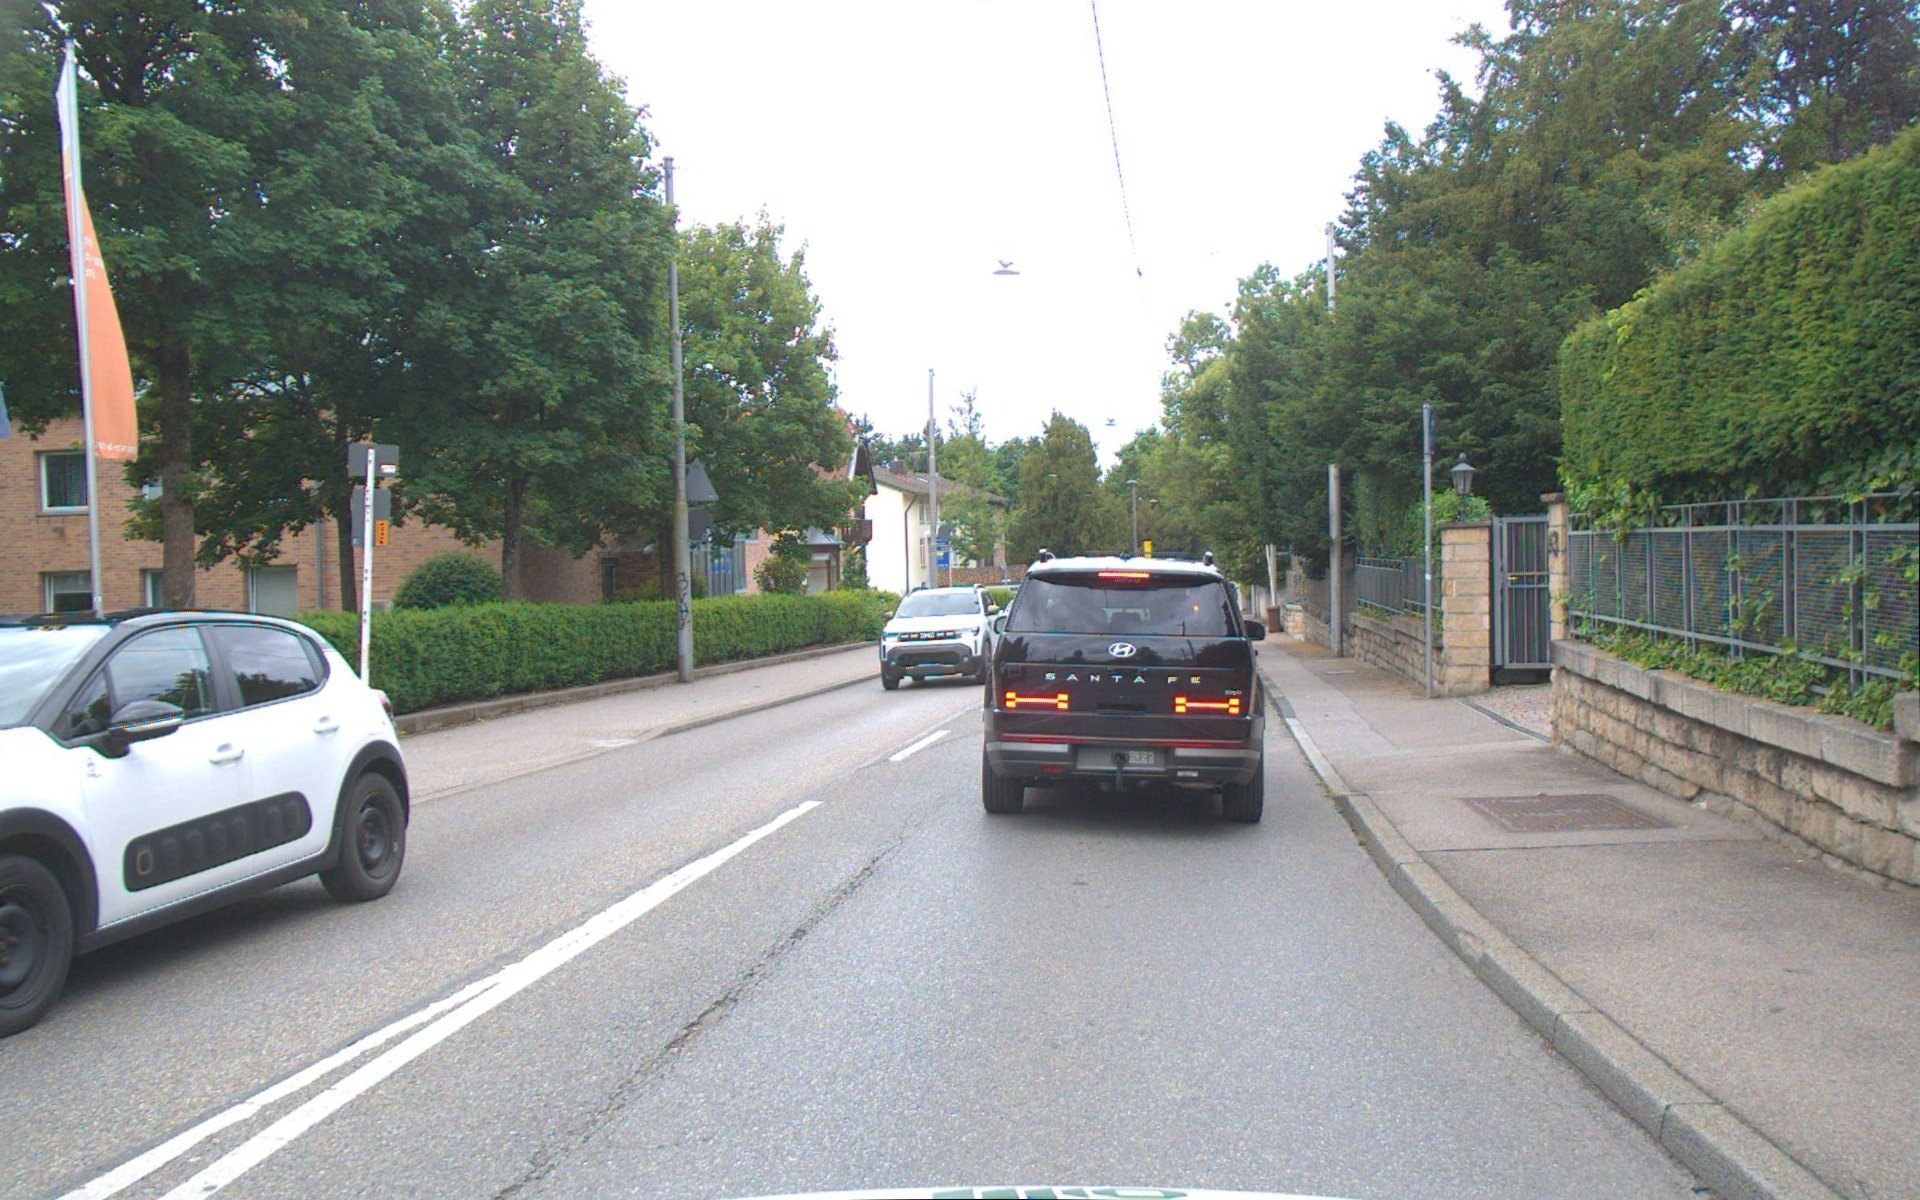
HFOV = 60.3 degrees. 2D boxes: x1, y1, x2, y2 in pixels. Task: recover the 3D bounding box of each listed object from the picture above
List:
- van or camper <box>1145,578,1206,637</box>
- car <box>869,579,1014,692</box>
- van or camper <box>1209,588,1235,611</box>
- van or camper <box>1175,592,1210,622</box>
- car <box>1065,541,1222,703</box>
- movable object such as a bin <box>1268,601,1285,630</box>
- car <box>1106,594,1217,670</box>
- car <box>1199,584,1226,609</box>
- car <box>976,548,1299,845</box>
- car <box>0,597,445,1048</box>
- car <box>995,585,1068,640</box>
[{"bbox_3d":[7.643,0.233,58.282,1.951,1.920,4.004,-3,0,9],"label":"van or camper"},{"bbox_3d":[-0.224,0.553,28.279,1.731,1.666,4.305,-4,0,8],"label":"car"},{"bbox_3d":[20.676,-0.026,130.466,1.951,1.680,4.004,-3,0,9],"label":"van or camper"},{"bbox_3d":[13.823,0.386,98.261,1.951,1.680,4.004,-3,0,9],"label":"van or camper"},{"bbox_3d":[2.563,0.317,23.467,1.916,1.990,4.225,3,-1,5],"label":"car"},{"bbox_3d":[10.962,0.534,57.296,0.436,0.925,0.394,-5,1,18],"label":"movable object such as a bin"},{"bbox_3d":[4.211,0.620,34.121,1.951,1.429,4.003,-2,0,11],"label":"car"},{"bbox_3d":[17.582,-0.210,115.121,1.609,1.588,3.652,-1,-2,11],"label":"car"},{"bbox_3d":[1.372,0.548,12.114,1.915,1.742,4.227,1,1,8],"label":"car"},{"bbox_3d":[-3.842,0.801,6.914,1.659,1.464,3.760,-5,0,8],"label":"car"},{"bbox_3d":[2.177,0.353,49.181,1.729,1.446,4.069,-3,0,8],"label":"car"}]
